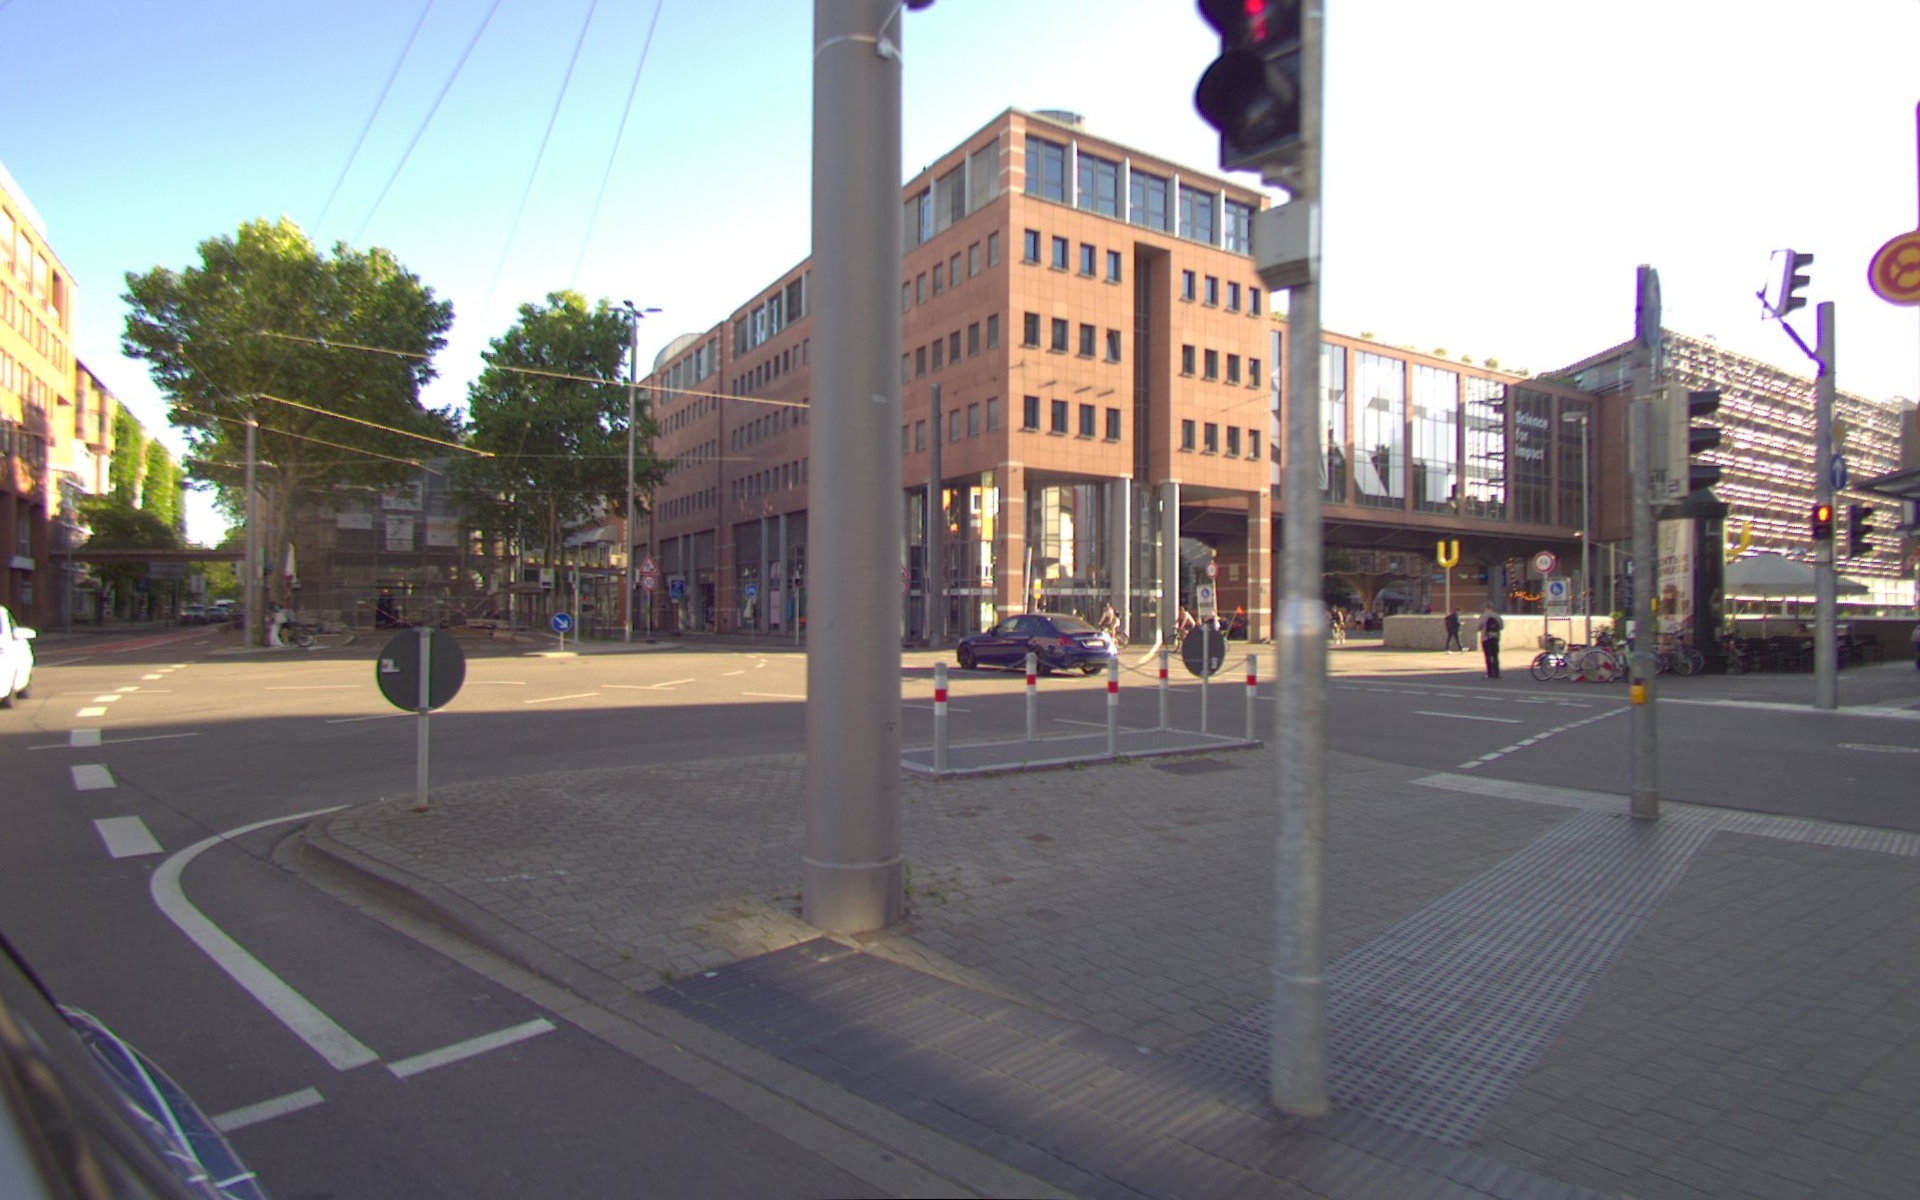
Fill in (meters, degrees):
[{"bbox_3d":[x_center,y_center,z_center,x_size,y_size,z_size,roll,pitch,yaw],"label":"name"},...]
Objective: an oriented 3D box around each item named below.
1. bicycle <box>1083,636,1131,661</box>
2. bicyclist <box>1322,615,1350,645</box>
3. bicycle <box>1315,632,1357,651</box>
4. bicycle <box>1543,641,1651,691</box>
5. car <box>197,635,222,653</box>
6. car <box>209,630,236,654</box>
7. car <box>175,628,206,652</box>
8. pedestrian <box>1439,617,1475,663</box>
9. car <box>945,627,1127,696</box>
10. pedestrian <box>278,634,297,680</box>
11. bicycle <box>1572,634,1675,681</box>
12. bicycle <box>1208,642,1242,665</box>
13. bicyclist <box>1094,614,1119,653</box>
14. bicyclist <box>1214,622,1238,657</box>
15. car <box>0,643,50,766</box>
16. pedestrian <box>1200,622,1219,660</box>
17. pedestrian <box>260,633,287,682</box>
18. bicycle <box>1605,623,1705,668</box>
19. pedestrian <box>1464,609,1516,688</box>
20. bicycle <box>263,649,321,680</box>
[{"bbox_3d":[5.704,1.880,39.248,1.932,0.919,0.585,0,-2,-32],"label":"bicycle"},{"bbox_3d":[17.409,1.399,46.865,1.004,1.350,0.781,0,-1,-35],"label":"bicyclist"},{"bbox_3d":[17.423,1.906,46.880,1.985,0.814,0.781,0,-1,-35],"label":"bicycle"},{"bbox_3d":[14.185,1.451,22.596,2.000,1.061,0.590,-1,-1,33],"label":"bicycle"},{"bbox_3d":[-77.387,4.528,104.404,1.763,1.683,4.452,0,-1,-33],"label":"car"},{"bbox_3d":[-86.206,4.883,118.371,2.086,2.584,5.922,0,-1,-32],"label":"car"},{"bbox_3d":[-71.434,3.684,94.001,1.892,2.094,5.184,0,-1,-33],"label":"car"},{"bbox_3d":[18.302,1.464,37.258,0.896,1.678,0.883,0,-1,3],"label":"pedestrian"},{"bbox_3d":[1.698,1.380,24.133,1.808,1.396,4.607,1,-1,-35],"label":"car"},{"bbox_3d":[-25.137,2.108,37.824,0.558,1.692,0.532,1,-1,-31],"label":"pedestrian"},{"bbox_3d":[15.893,1.356,24.265,2.004,1.061,0.588,-2,-2,40],"label":"bicycle"},{"bbox_3d":[10.200,2.052,38.882,0.616,0.814,1.995,-1,-1,35],"label":"bicycle"},{"bbox_3d":[5.695,1.309,39.258,0.736,1.496,0.585,0,-2,-32],"label":"bicyclist"},{"bbox_3d":[10.237,1.512,38.943,0.616,1.322,0.946,-1,-1,35],"label":"bicyclist"},{"bbox_3d":[-14.500,1.434,14.447,1.780,1.512,4.210,0,-1,-36],"label":"car"},{"bbox_3d":[10.368,1.693,42.057,0.562,1.548,0.483,-2,-2,40],"label":"pedestrian"},{"bbox_3d":[-25.093,2.081,36.995,0.767,1.747,0.850,1,-1,-35],"label":"pedestrian"},{"bbox_3d":[17.472,1.126,25.484,0.586,1.061,2.012,0,-1,-28],"label":"bicycle"},{"bbox_3d":[12.371,1.128,23.629,0.619,1.805,0.787,0,-2,-31],"label":"pedestrian"},{"bbox_3d":[-25.249,2.428,38.276,1.804,1.087,0.482,1,-1,-31],"label":"bicycle"}]
